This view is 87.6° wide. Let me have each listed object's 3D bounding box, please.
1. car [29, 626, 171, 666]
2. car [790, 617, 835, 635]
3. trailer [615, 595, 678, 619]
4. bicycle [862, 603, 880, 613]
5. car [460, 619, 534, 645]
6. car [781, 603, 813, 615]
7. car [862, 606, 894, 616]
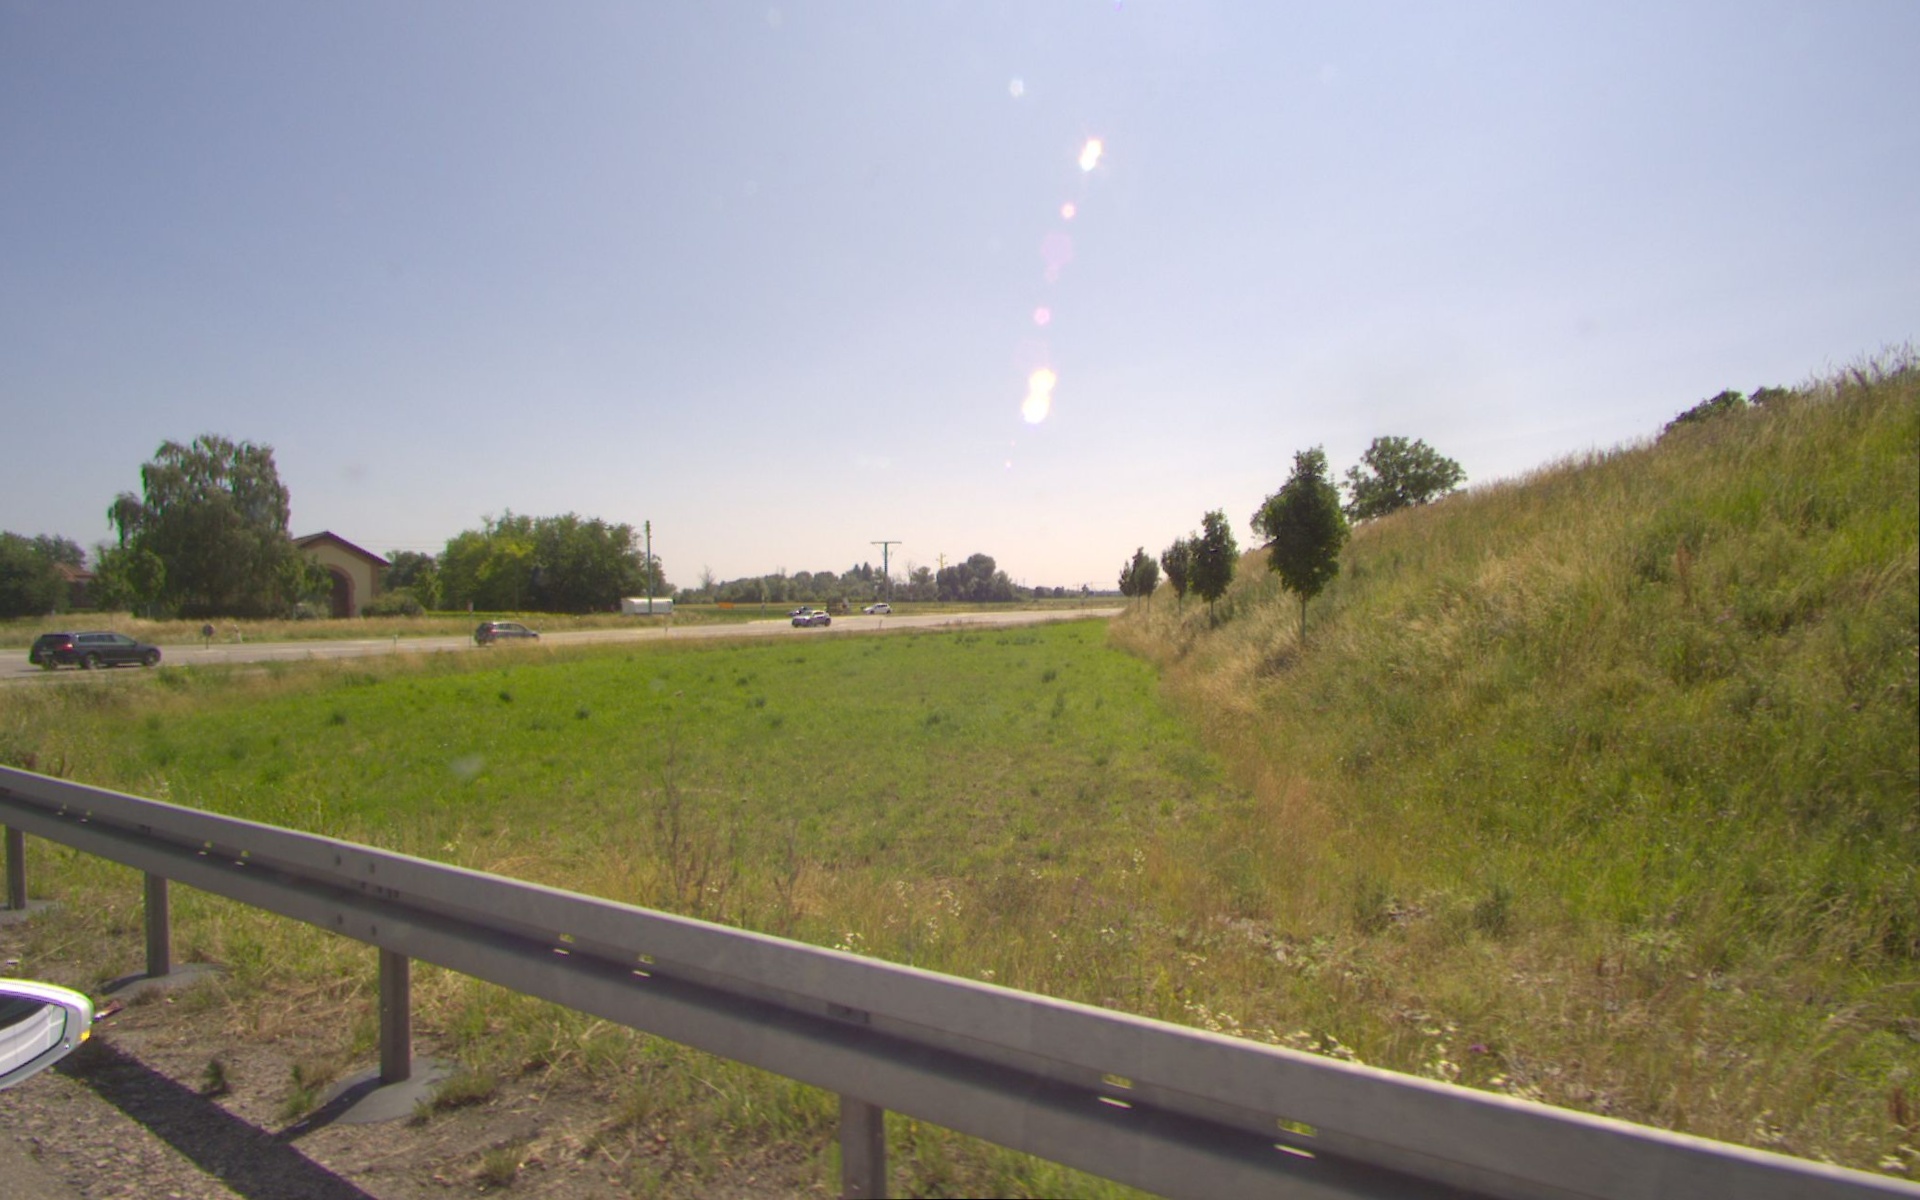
[{"bbox_3d":[-34.087,1.782,39.872,1.770,1.495,4.416,0,-1,3],"label":"car"},{"bbox_3d":[-13.822,2.403,93.835,1.842,1.565,4.531,1,1,28],"label":"car"},{"bbox_3d":[-34.607,0.725,110.582,2.651,2.489,6.339,1,1,36],"label":"trailer"},{"bbox_3d":[-13.184,1.133,148.913,2.572,1.389,0.900,-2,-2,22],"label":"bicycle"},{"bbox_3d":[-28.234,1.954,61.119,1.777,1.541,3.870,-1,-1,26],"label":"car"},{"bbox_3d":[-20.260,1.165,124.836,1.659,1.406,3.809,2,1,40],"label":"car"},{"bbox_3d":[-11.022,1.472,134.977,3.974,1.350,1.689,1,1,-25],"label":"car"}]
